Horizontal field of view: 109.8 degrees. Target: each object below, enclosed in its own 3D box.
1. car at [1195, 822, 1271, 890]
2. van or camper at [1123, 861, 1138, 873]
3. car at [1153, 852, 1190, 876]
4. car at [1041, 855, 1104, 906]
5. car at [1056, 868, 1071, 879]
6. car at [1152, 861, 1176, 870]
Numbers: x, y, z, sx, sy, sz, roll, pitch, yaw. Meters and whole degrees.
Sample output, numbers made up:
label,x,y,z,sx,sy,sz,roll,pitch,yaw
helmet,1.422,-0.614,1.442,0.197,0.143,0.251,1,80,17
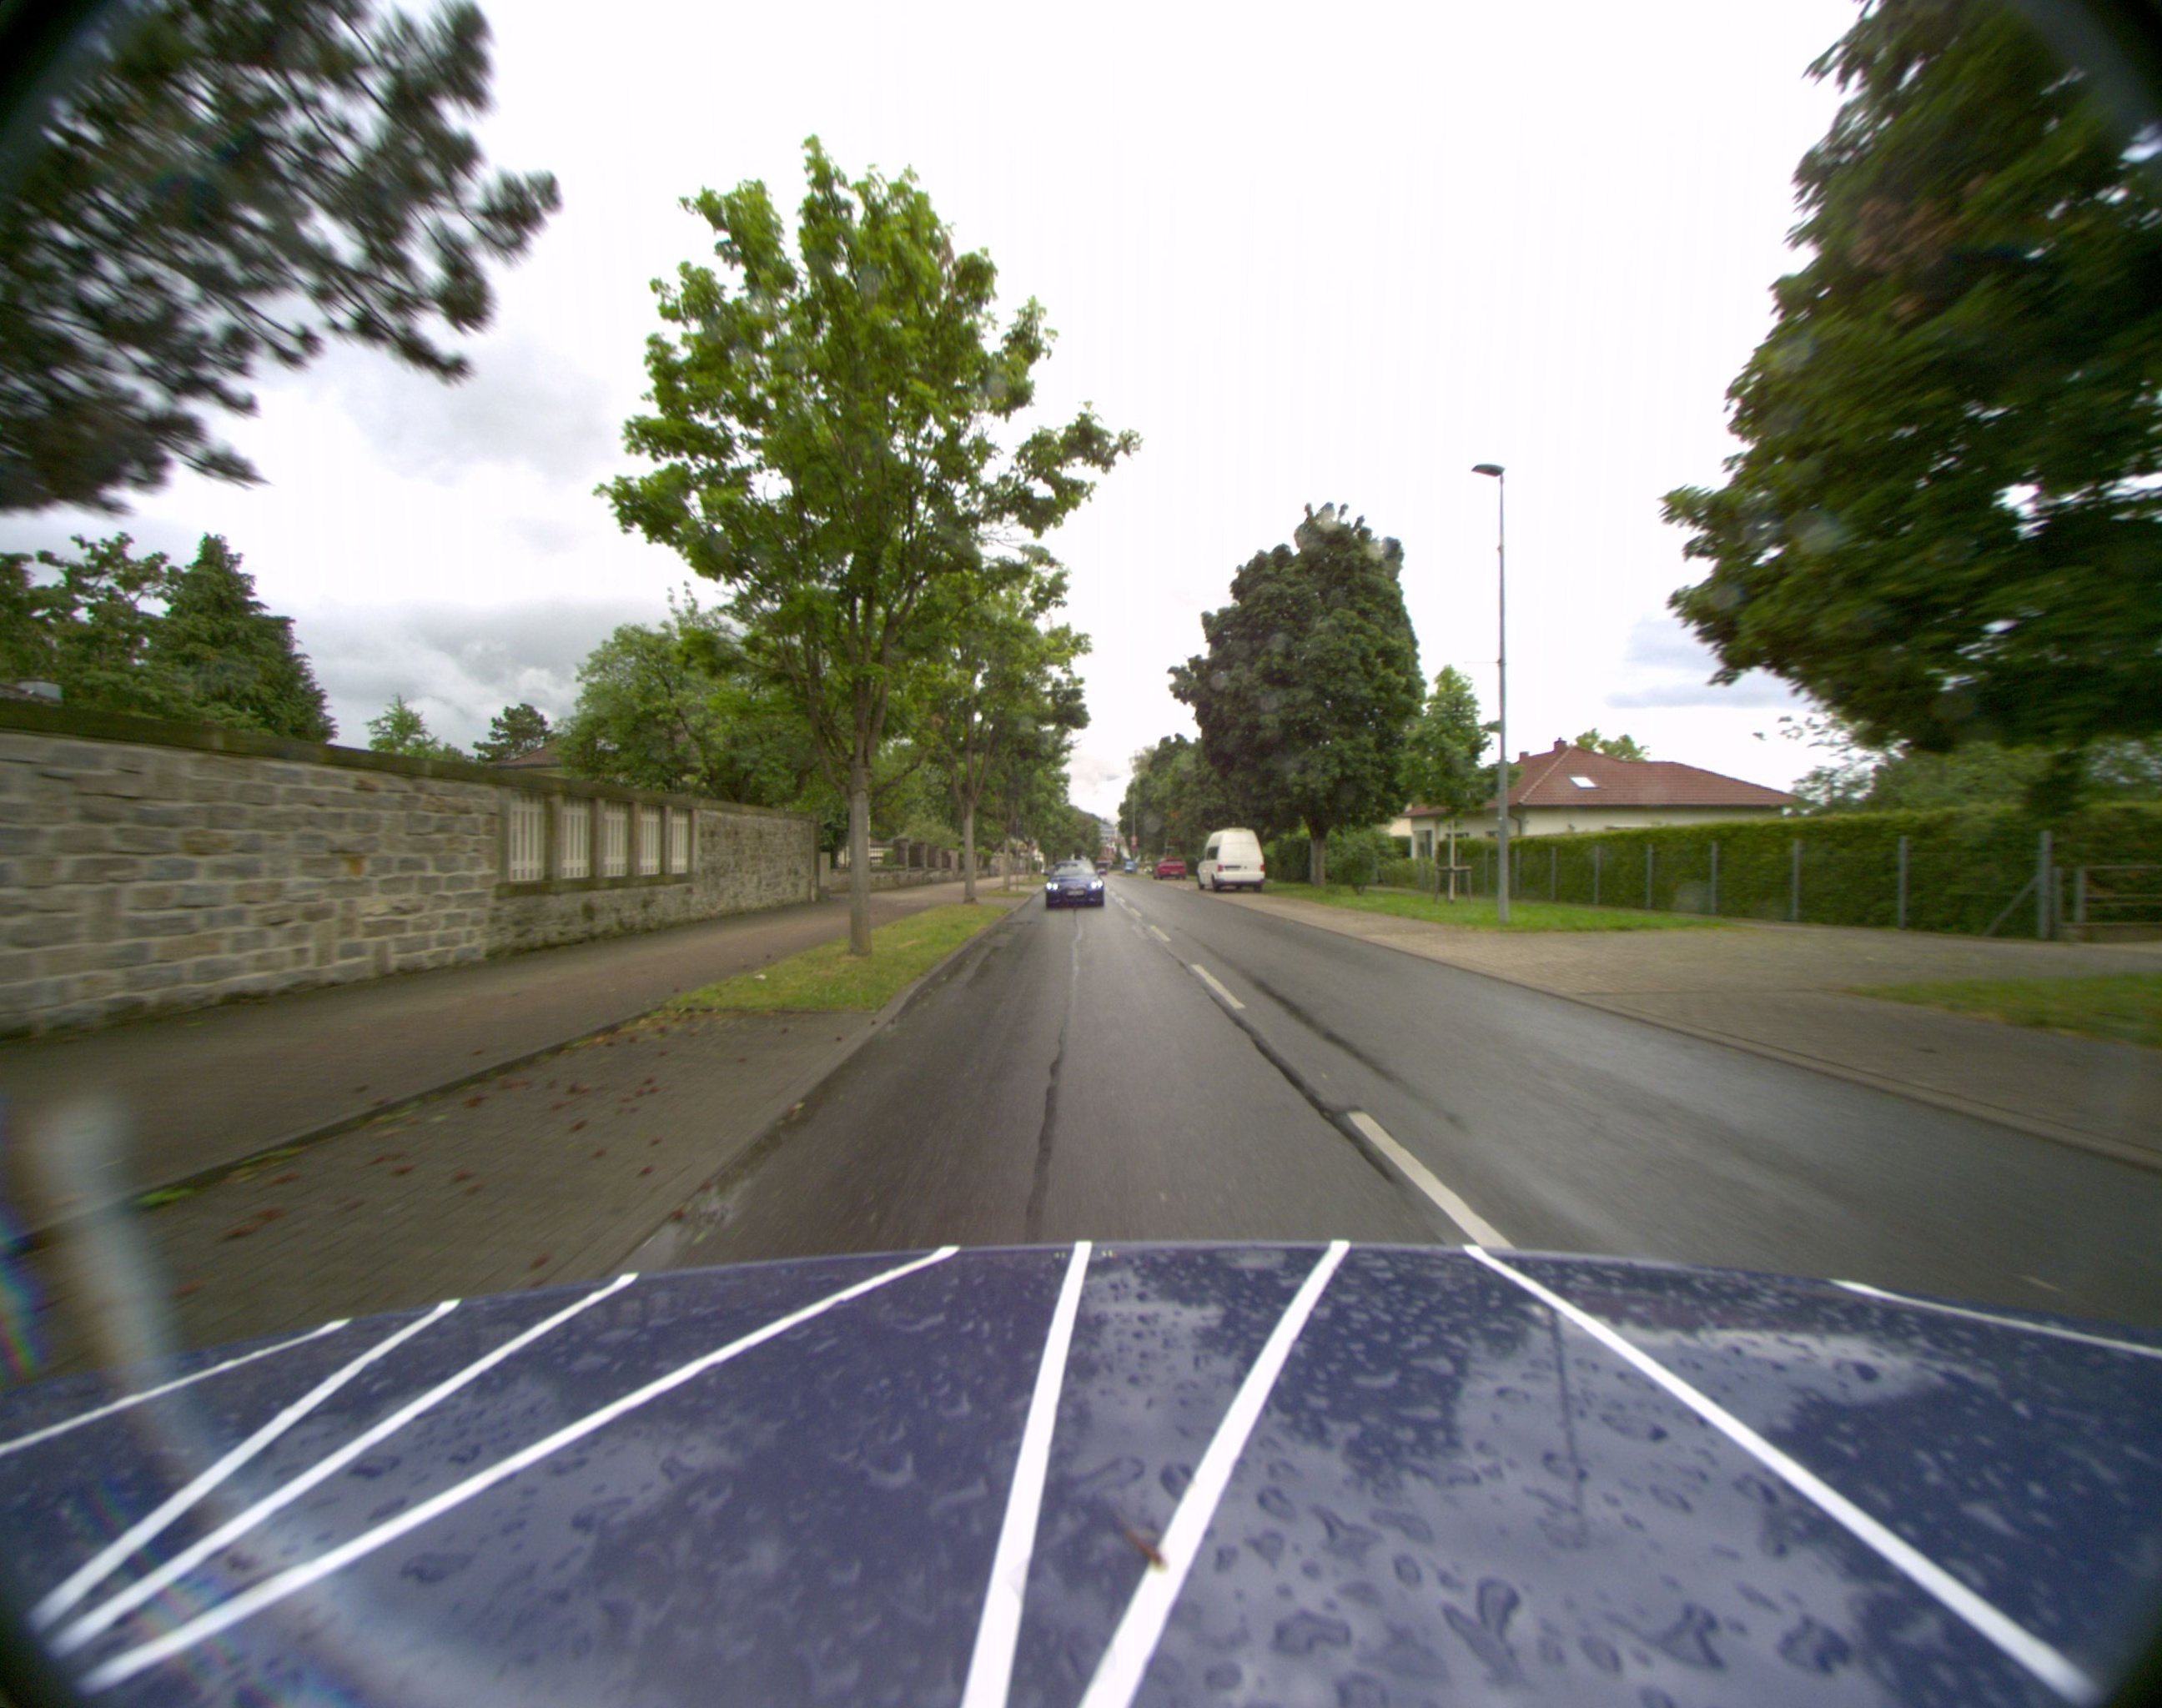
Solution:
label,x,y,z,sx,sy,sz,roll,pitch,yaw
car,6.176,0.082,31.429,1.999,2.546,5.232,0,0,-1
van or camper,11.596,3.021,177.216,2.146,2.594,5.788,1,1,16
car,5.951,0.637,50.410,1.848,1.457,4.249,-1,0,-1
car,-0.259,0.864,25.837,1.895,1.531,4.001,-2,-1,0
car,-2.391,2.623,103.468,1.645,1.369,3.831,1,-1,3
car,15.995,2.233,146.273,4.434,1.409,1.758,-4,-1,15
